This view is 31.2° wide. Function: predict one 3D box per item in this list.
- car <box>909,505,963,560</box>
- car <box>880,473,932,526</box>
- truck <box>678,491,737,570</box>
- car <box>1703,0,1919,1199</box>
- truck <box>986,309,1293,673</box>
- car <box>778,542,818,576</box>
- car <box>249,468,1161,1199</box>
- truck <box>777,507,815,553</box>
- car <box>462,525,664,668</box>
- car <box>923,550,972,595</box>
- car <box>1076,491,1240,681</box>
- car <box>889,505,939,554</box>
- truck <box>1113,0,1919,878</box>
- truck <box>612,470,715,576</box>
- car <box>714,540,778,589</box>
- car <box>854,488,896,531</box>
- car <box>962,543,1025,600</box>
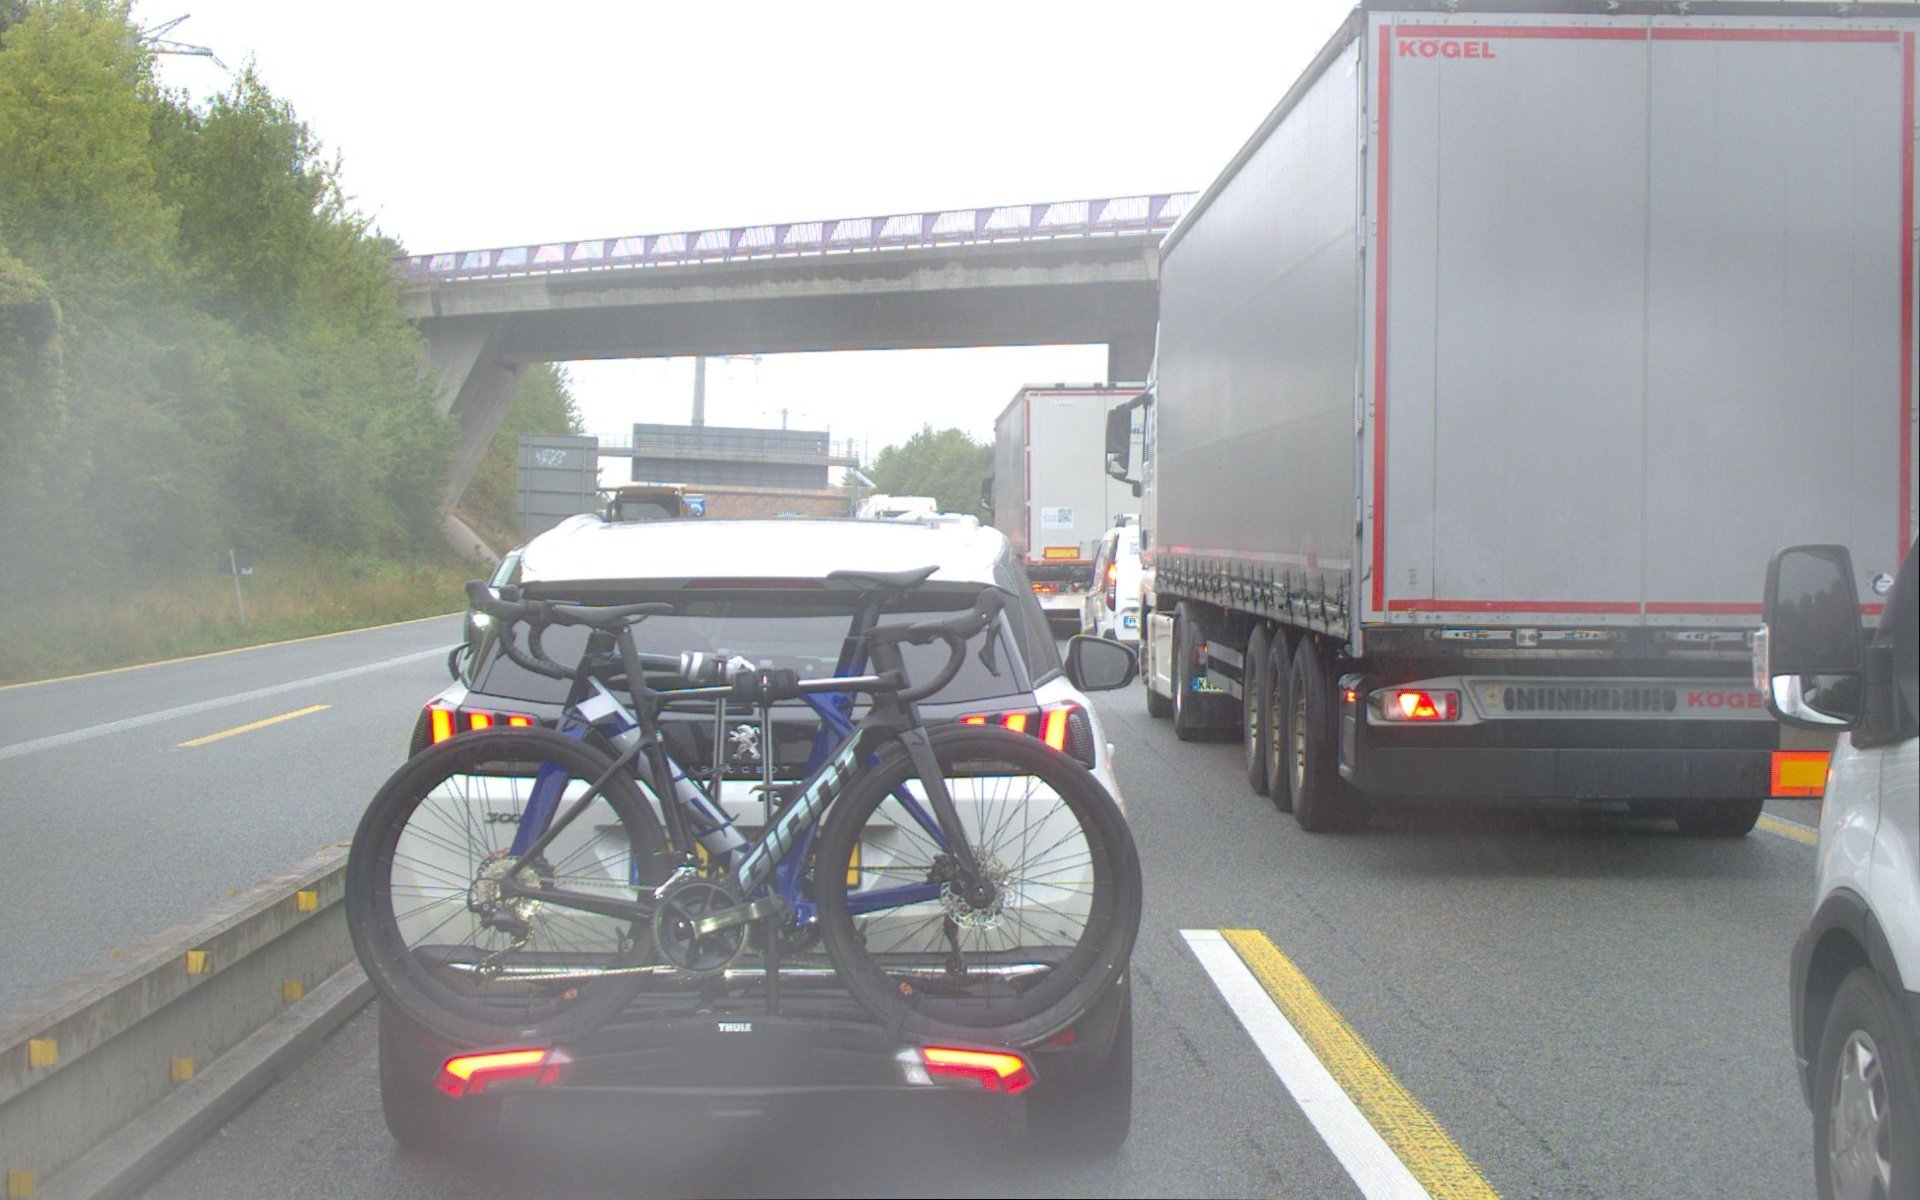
[{"bbox_3d":[-0.896,-2.538,130.272,1.993,2.007,4.000,1,1,0],"label":"car"},{"bbox_3d":[-2.433,-4.547,155.800,2.239,2.299,4.572,1,1,0],"label":"car"},{"bbox_3d":[-13.995,-3.766,189.411,2.765,4.109,16.930,1,1,-6],"label":"truck"},{"bbox_3d":[2.773,0.067,4.642,2.144,2.667,6.117,1,1,0],"label":"car"},{"bbox_3d":[2.963,-1.815,63.977,4.743,5.654,20.376,1,1,1],"label":"truck"},{"bbox_3d":[-7.001,-1.776,148.627,1.686,1.404,3.930,1,1,-2],"label":"car"},{"bbox_3d":[-0.479,0.538,9.187,1.810,1.632,4.635,1,1,1],"label":"car"},{"bbox_3d":[-12.434,-5.293,260.870,2.535,3.341,12.051,1,1,-1],"label":"truck"},{"bbox_3d":[-4.355,-0.058,38.259,1.810,1.483,4.397,1,1,-1],"label":"car"},{"bbox_3d":[-0.411,-0.952,117.799,1.638,1.492,3.666,1,1,0],"label":"car"},{"bbox_3d":[2.347,-0.185,41.755,1.670,2.173,4.535,1,1,0],"label":"car"},{"bbox_3d":[-1.899,-2.919,142.982,1.993,2.007,4.000,1,1,0],"label":"car"},{"bbox_3d":[3.596,-1.767,24.675,3.979,5.654,20.376,1,1,0],"label":"truck"},{"bbox_3d":[-10.689,-2.716,125.003,2.681,3.644,12.312,1,1,0],"label":"truck"},{"bbox_3d":[-6.491,-1.084,104.587,1.779,1.438,4.328,1,1,-1],"label":"car"},{"bbox_3d":[-4.342,-4.612,176.397,1.993,2.119,4.527,1,1,0],"label":"car"},{"bbox_3d":[0.883,-0.772,92.341,1.638,1.492,3.666,1,1,0],"label":"car"}]
